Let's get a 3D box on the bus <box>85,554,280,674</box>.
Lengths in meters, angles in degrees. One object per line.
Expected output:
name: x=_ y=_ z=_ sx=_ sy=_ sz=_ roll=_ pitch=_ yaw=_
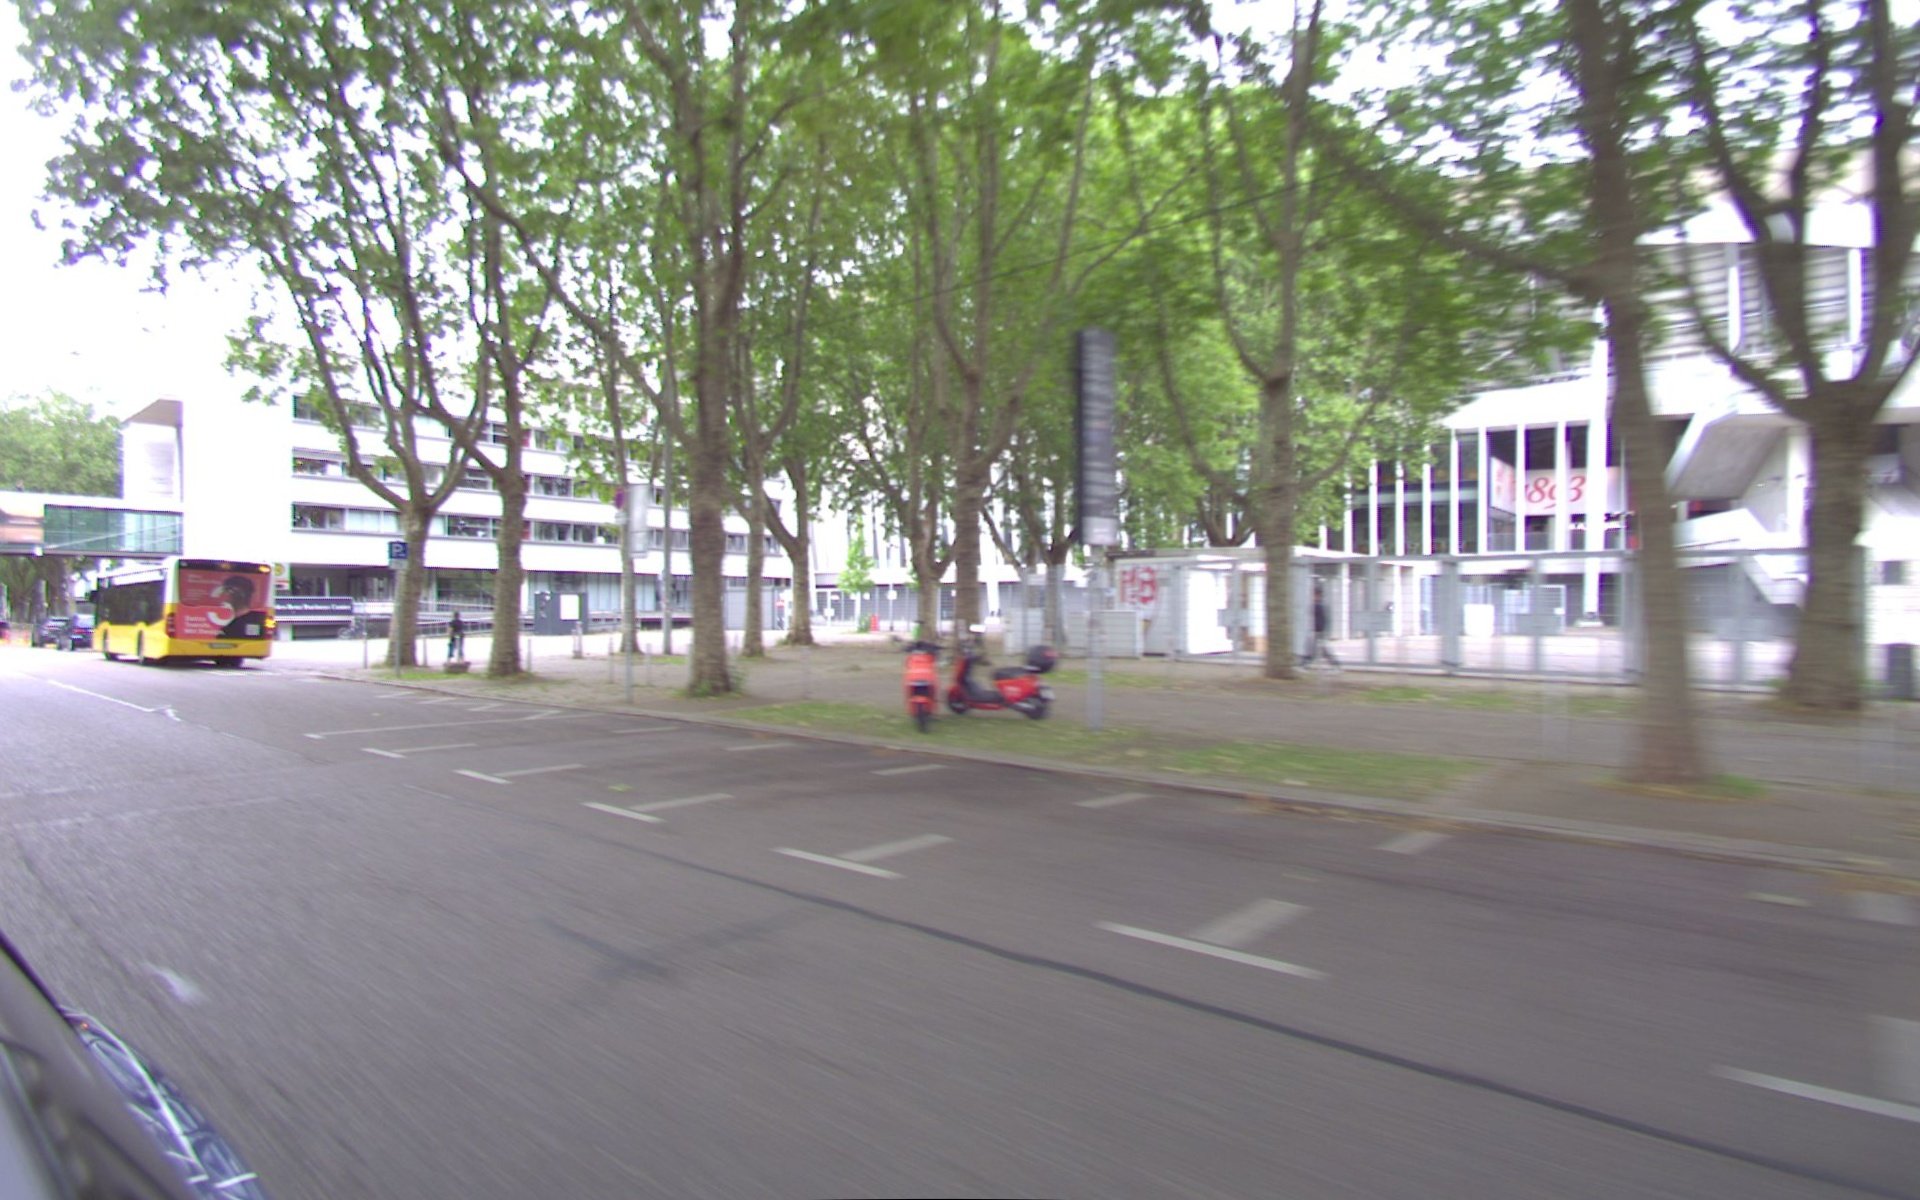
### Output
bus: x=-24.897 y=0.509 z=31.999 sx=12.366 sy=3.179 sz=2.623 roll=-1 pitch=-4 yaw=42

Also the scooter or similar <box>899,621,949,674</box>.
scooter or similar: x=-0.848 y=1.116 z=24.056 sx=1.169 sy=1.182 sz=0.445 roll=-1 pitch=0 yaw=-45

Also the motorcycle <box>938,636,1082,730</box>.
motorcycle: x=0.666 y=1.115 z=14.067 sx=2.075 sy=1.167 sz=0.567 roll=-1 pitch=0 yaw=40

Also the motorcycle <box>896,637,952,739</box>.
motorcycle: x=-0.507 y=1.117 z=13.533 sx=0.566 sy=1.166 sz=2.080 roll=-1 pitch=0 yaw=-6

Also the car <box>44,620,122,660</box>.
car: x=-37.994 y=1.717 z=43.816 sx=4.383 sy=1.578 sz=1.736 roll=-1 pitch=-5 yaw=40

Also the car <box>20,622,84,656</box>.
car: x=-44.554 y=1.902 z=49.624 sx=4.007 sy=1.525 sz=1.735 roll=-1 pitch=-5 yaw=41

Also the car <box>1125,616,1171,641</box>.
car: x=13.157 y=1.945 z=70.672 sx=1.992 sy=1.674 sz=3.959 roll=-1 pitch=-1 yaw=30

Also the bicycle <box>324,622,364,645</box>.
bicycle: x=-33.909 y=1.852 z=55.721 sx=0.470 sy=1.196 sz=1.808 roll=-1 pitch=0 yaw=38

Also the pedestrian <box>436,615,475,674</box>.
pedestrian: x=-14.068 y=1.236 z=28.209 sx=0.912 sy=1.601 sz=0.655 roll=-1 pitch=0 yaw=41

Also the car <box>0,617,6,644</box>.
car: x=-65.997 y=2.008 z=68.215 sx=4.231 sy=1.744 sz=1.904 roll=-1 pitch=-5 yaw=41

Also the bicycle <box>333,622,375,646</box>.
bicycle: x=-32.919 y=1.842 z=55.002 sx=0.568 sy=1.196 sz=1.895 roll=-1 pitch=0 yaw=38

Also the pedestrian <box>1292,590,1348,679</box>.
pedestrian: x=7.353 y=0.687 z=20.689 sx=0.874 sy=1.767 sz=0.697 roll=-1 pitch=0 yaw=40
